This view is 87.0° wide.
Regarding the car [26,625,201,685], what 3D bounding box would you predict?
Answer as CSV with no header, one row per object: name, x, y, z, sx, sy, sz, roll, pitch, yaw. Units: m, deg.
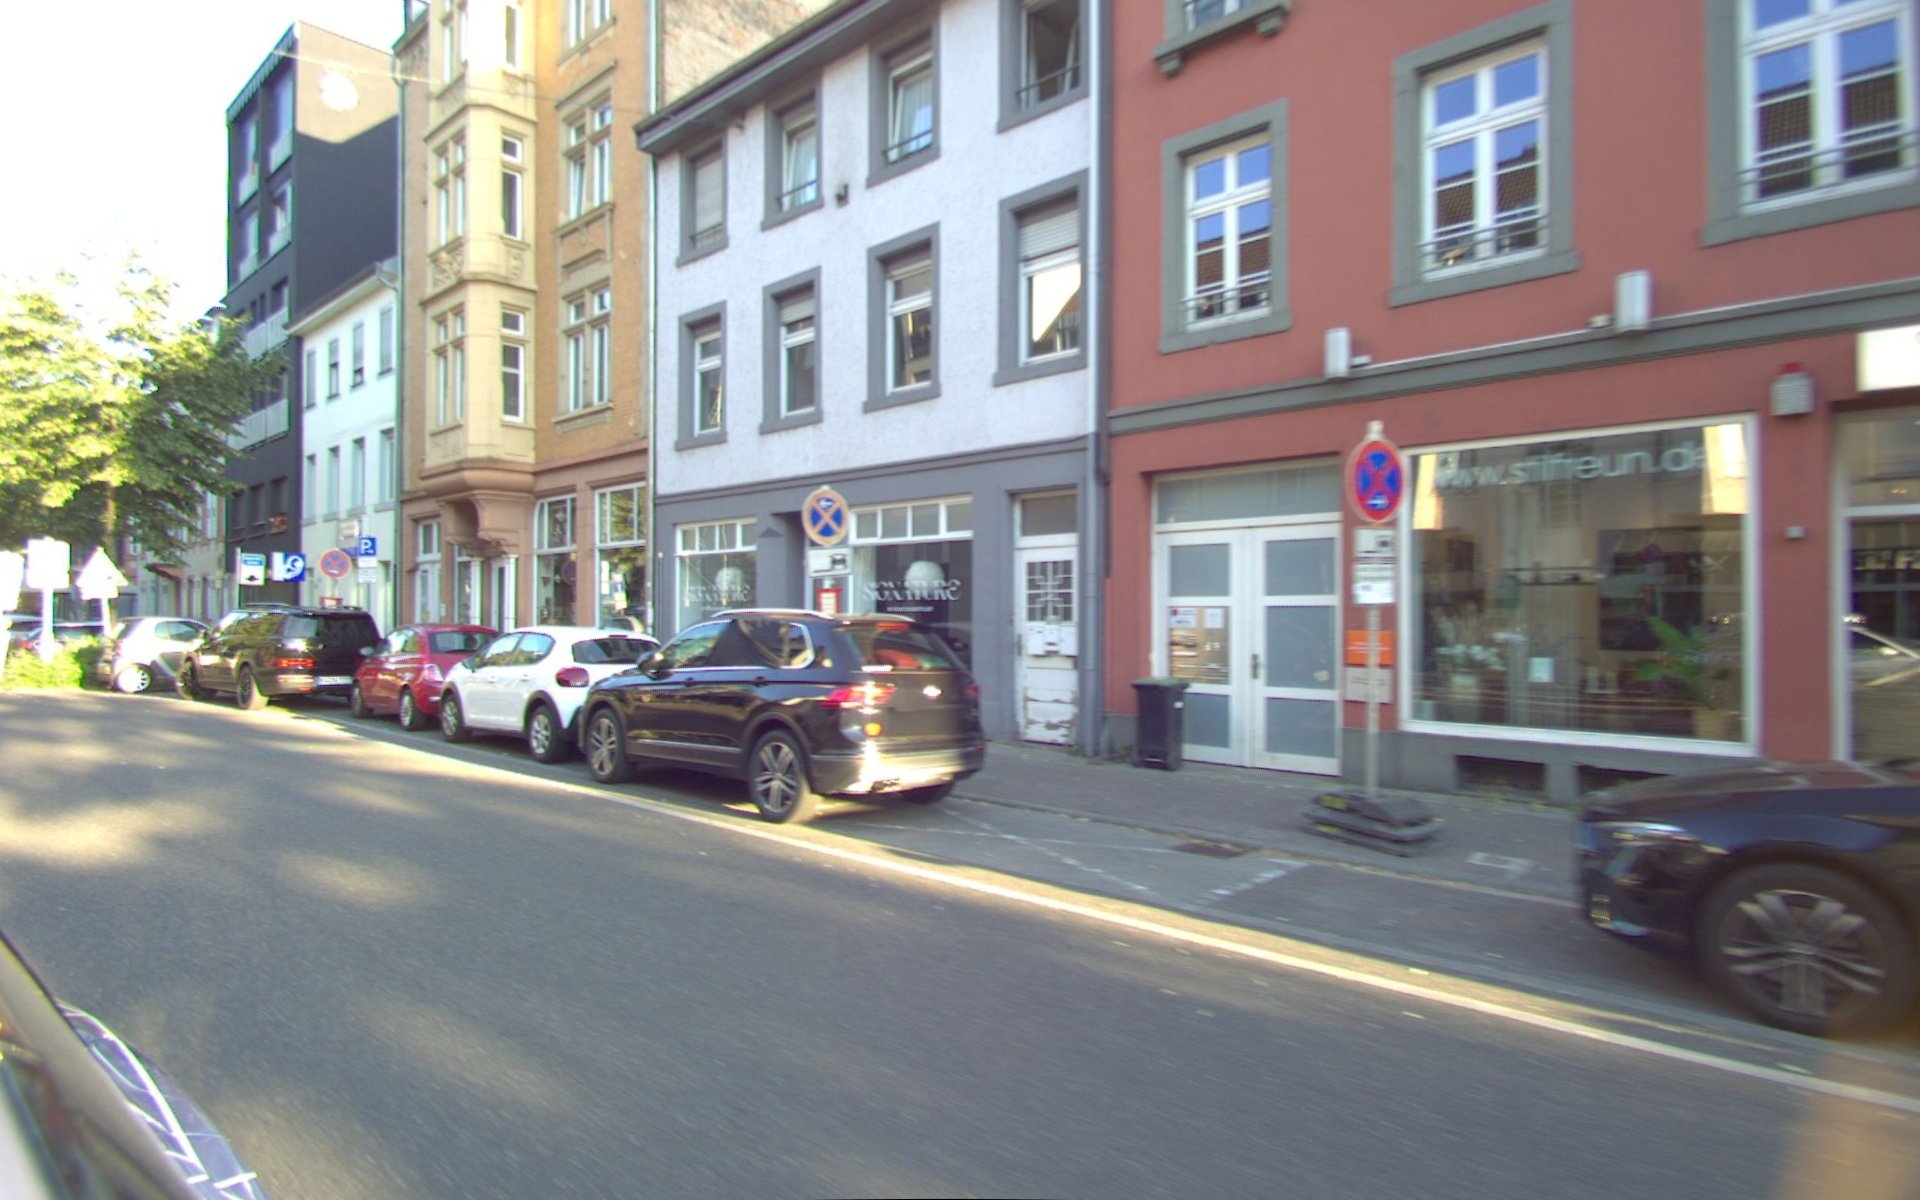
car,-22.005,1.385,26.372,1.687,1.402,3.358,-2,-1,44

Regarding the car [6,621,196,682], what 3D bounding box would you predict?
car,-23.790,1.373,28.118,1.857,1.529,3.851,-2,-1,43

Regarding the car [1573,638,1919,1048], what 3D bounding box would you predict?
car,4.795,0.887,3.529,4.309,1.451,1.694,-1,-3,43

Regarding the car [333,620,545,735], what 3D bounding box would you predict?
car,-7.962,1.100,15.347,3.484,1.526,1.754,-1,-3,43

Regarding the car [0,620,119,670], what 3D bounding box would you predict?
car,-31.748,1.526,35.137,1.742,1.597,3.782,-1,0,45

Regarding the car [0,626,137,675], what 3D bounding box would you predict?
car,-30.115,1.622,33.496,1.760,1.528,4.166,-1,-2,39

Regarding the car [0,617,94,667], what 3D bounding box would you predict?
car,-35.503,1.580,38.525,3.766,1.863,1.701,1,-2,-44

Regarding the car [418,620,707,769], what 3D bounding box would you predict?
car,-4.979,1.041,12.429,3.950,1.526,1.754,-1,-3,43

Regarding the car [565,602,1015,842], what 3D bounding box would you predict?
car,-1.696,0.914,9.085,4.238,1.645,1.754,-1,-4,43

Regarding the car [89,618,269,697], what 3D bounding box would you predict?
car,-16.361,1.199,21.272,1.570,1.532,2.667,-2,-4,39

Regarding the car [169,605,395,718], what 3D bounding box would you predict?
car,-12.017,0.998,17.822,4.695,1.741,1.886,-1,-2,38

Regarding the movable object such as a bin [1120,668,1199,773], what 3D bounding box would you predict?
movable object such as a bin,2.038,1.213,10.349,0.671,0.997,0.425,-1,-1,42
